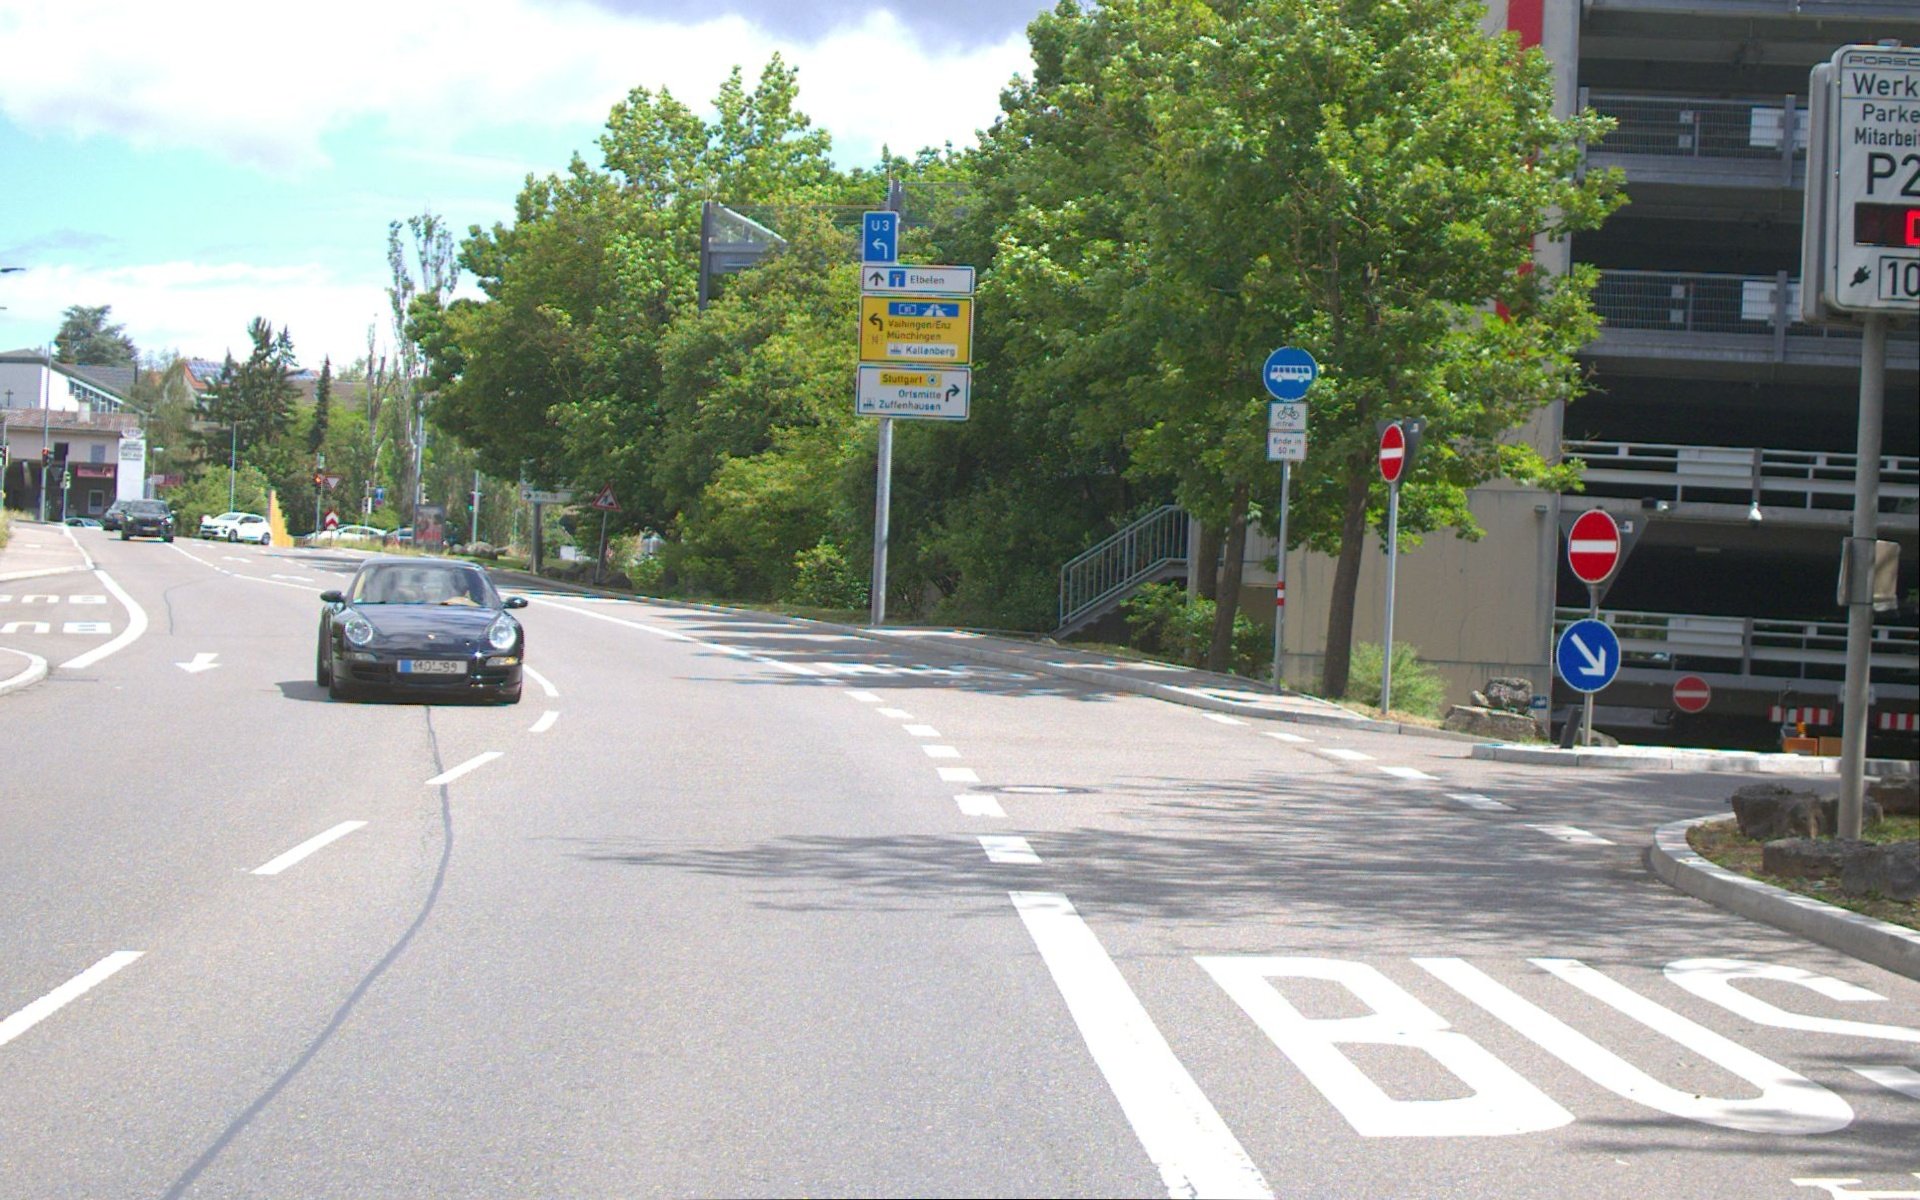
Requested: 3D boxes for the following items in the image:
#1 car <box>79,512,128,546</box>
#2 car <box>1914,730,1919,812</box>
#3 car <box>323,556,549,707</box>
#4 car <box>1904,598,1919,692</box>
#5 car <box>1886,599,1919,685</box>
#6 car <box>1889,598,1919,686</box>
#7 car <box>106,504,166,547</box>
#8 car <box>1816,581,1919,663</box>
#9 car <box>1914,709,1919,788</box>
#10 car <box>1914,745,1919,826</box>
[{"bbox_3d":[-37.288,-3.089,149.619,1.765,1.437,4.379,2,1,-18],"label":"car"},{"bbox_3d":[20.622,3.411,65.995,4.316,1.484,1.999,3,1,14],"label":"car"},{"bbox_3d":[-4.869,0.260,32.394,1.734,1.296,4.005,2,0,-4],"label":"car"},{"bbox_3d":[18.794,0.878,60.054,4.316,1.625,1.999,3,1,14],"label":"car"},{"bbox_3d":[20.250,0.891,66.638,4.316,1.625,1.999,3,1,14],"label":"car"},{"bbox_3d":[19.756,0.879,64.631,4.316,1.625,1.999,3,1,14],"label":"car"},{"bbox_3d":[-31.007,-2.806,129.303,1.822,1.552,4.631,1,2,-18],"label":"car"},{"bbox_3d":[20.566,0.509,73.547,4.316,1.625,1.999,3,1,14],"label":"car"},{"bbox_3d":[21.259,3.070,68.345,4.316,1.484,1.999,3,1,14],"label":"car"},{"bbox_3d":[20.023,3.574,63.902,4.316,1.413,1.999,3,1,14],"label":"car"}]
